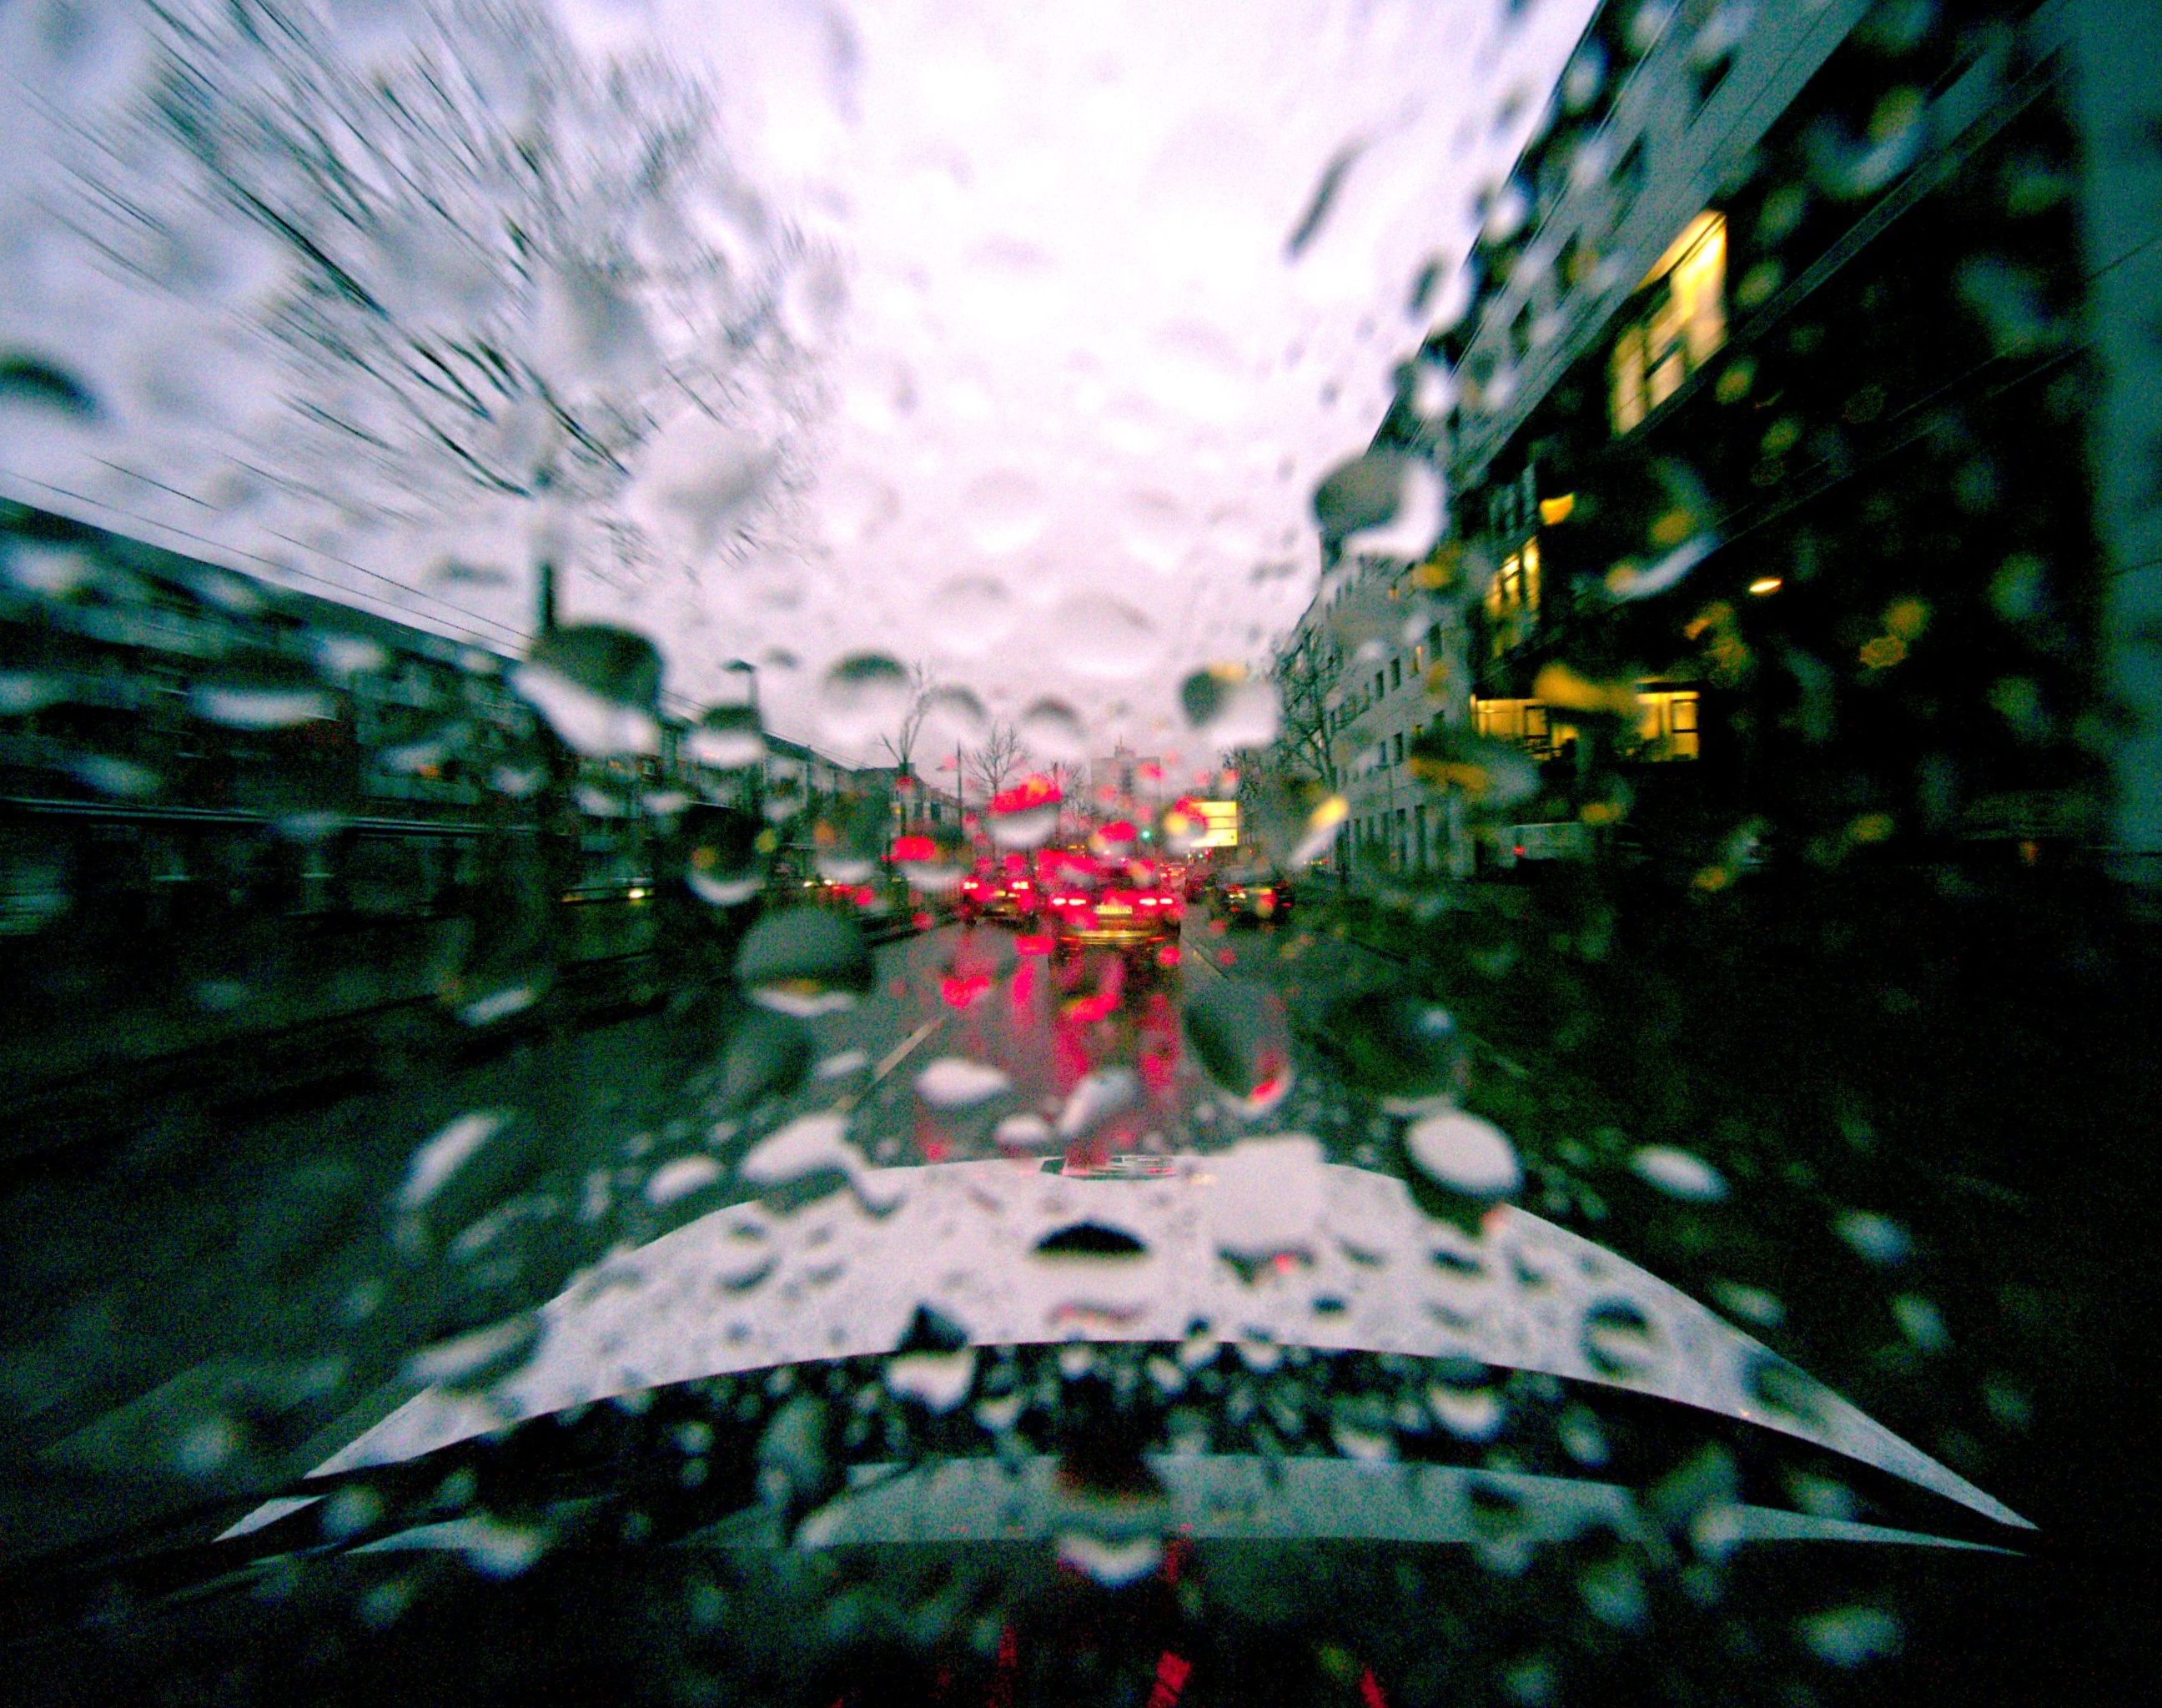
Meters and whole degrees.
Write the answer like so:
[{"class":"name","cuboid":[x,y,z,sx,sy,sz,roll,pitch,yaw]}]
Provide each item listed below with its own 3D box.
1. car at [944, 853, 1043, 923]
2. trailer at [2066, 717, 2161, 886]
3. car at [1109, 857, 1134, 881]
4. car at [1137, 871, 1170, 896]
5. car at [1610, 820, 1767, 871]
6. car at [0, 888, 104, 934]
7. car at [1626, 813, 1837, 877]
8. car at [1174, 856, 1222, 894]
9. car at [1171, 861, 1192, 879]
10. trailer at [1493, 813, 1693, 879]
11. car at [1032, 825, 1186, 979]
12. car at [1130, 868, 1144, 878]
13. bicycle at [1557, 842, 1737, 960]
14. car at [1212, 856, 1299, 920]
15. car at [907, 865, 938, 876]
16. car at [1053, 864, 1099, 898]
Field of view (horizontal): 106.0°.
[{"class":"car","cuboid":[-2.278,0.905,22.382,1.985,1.712,4.328,0,-2,3]},{"class":"trailer","cuboid":[19.670,-0.925,12.541,6.236,2.581,2.210,-2,-1,0]},{"class":"car","cuboid":[3.040,1.168,61.291,1.786,1.750,3.628,0,-2,4]},{"class":"car","cuboid":[4.431,1.776,49.705,1.878,1.353,4.107,0,0,5]},{"class":"car","cuboid":[20.824,-0.271,28.061,3.961,1.518,1.663,-3,0,11]},{"class":"car","cuboid":[-36.990,1.968,28.288,1.701,1.496,3.508,0,-2,7]},{"class":"car","cuboid":[15.450,-0.136,19.707,1.625,1.371,4.532,0,-2,2]},{"class":"car","cuboid":[4.666,0.794,32.516,1.744,1.403,4.259,-1,0,8]},{"class":"car","cuboid":[9.715,1.530,78.823,1.983,1.691,3.534,0,-2,6]},{"class":"trailer","cuboid":[16.339,-0.249,26.274,5.036,1.911,2.136,-2,1,10]},{"class":"car","cuboid":[0.441,0.676,12.579,1.986,1.976,4.070,0,-2,2]},{"class":"car","cuboid":[8.070,2.715,117.077,1.761,1.502,3.375,-1,-2,7]},{"class":"bicycle","cuboid":[6.110,0.483,8.965,0.548,1.115,2.168,-3,-2,4]},{"class":"car","cuboid":[4.281,0.818,20.488,1.588,1.440,4.233,0,-2,5]},{"class":"car","cuboid":[-21.029,2.207,108.091,3.785,1.366,1.698,0,-2,0]},{"class":"car","cuboid":[-0.204,1.344,40.954,1.984,1.642,4.027,0,-2,5]}]
